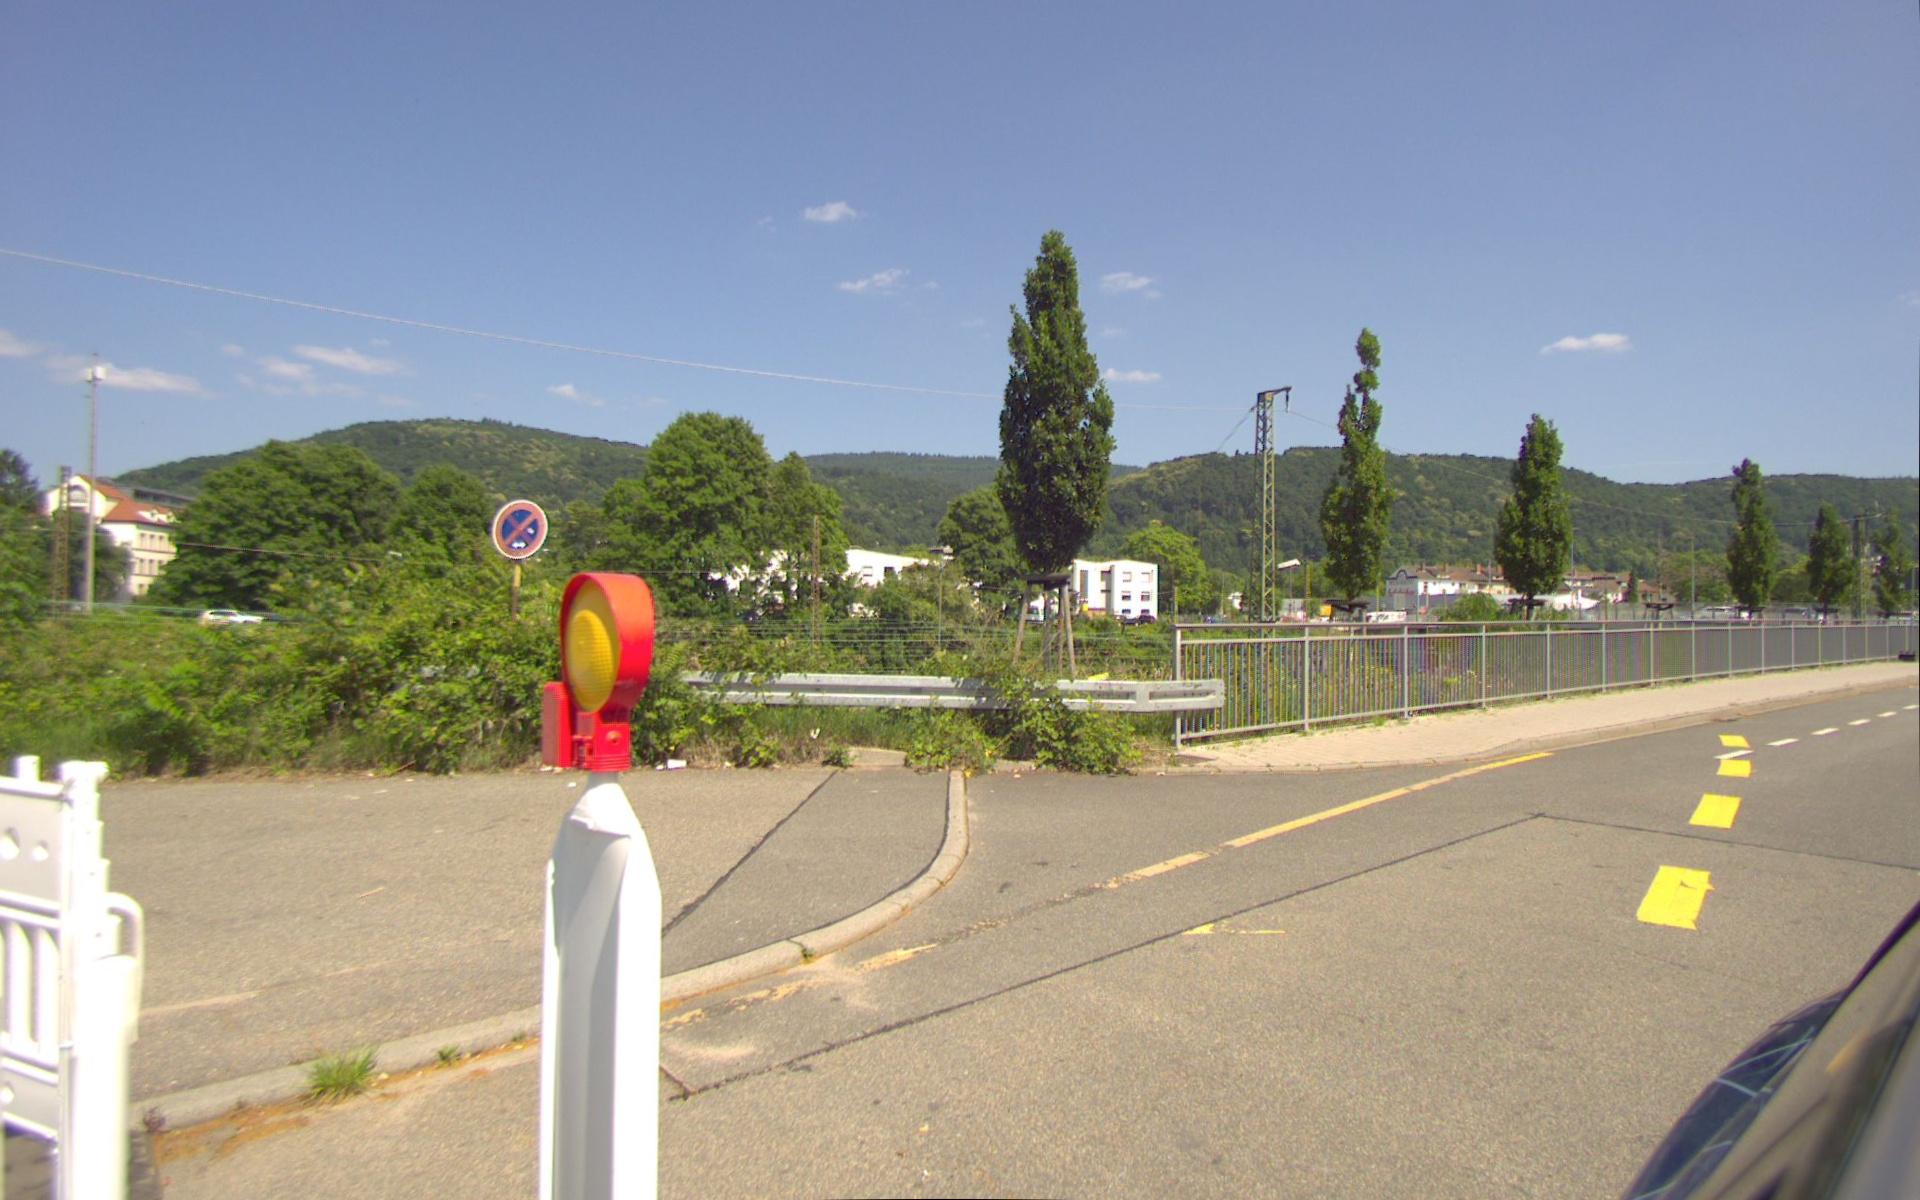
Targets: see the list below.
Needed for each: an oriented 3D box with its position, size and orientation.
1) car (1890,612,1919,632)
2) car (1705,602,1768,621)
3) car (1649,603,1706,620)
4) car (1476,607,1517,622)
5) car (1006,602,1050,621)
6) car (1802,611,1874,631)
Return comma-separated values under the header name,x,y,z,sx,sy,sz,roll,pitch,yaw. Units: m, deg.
name,x,y,z,sx,sy,sz,roll,pitch,yaw
car,74.429,1.702,77.595,1.701,1.488,4.417,1,-1,-11
car,71.408,1.088,93.165,1.700,1.647,4.451,1,-1,-17
car,69.946,1.127,98.698,1.700,1.647,4.451,1,-1,-17
car,65.079,1.804,122.832,1.700,1.647,4.450,3,-3,-15
car,8.018,1.328,119.192,4.890,2.140,2.002,1,-1,-29
car,73.245,1.753,84.499,1.701,1.647,4.449,1,-1,-11
